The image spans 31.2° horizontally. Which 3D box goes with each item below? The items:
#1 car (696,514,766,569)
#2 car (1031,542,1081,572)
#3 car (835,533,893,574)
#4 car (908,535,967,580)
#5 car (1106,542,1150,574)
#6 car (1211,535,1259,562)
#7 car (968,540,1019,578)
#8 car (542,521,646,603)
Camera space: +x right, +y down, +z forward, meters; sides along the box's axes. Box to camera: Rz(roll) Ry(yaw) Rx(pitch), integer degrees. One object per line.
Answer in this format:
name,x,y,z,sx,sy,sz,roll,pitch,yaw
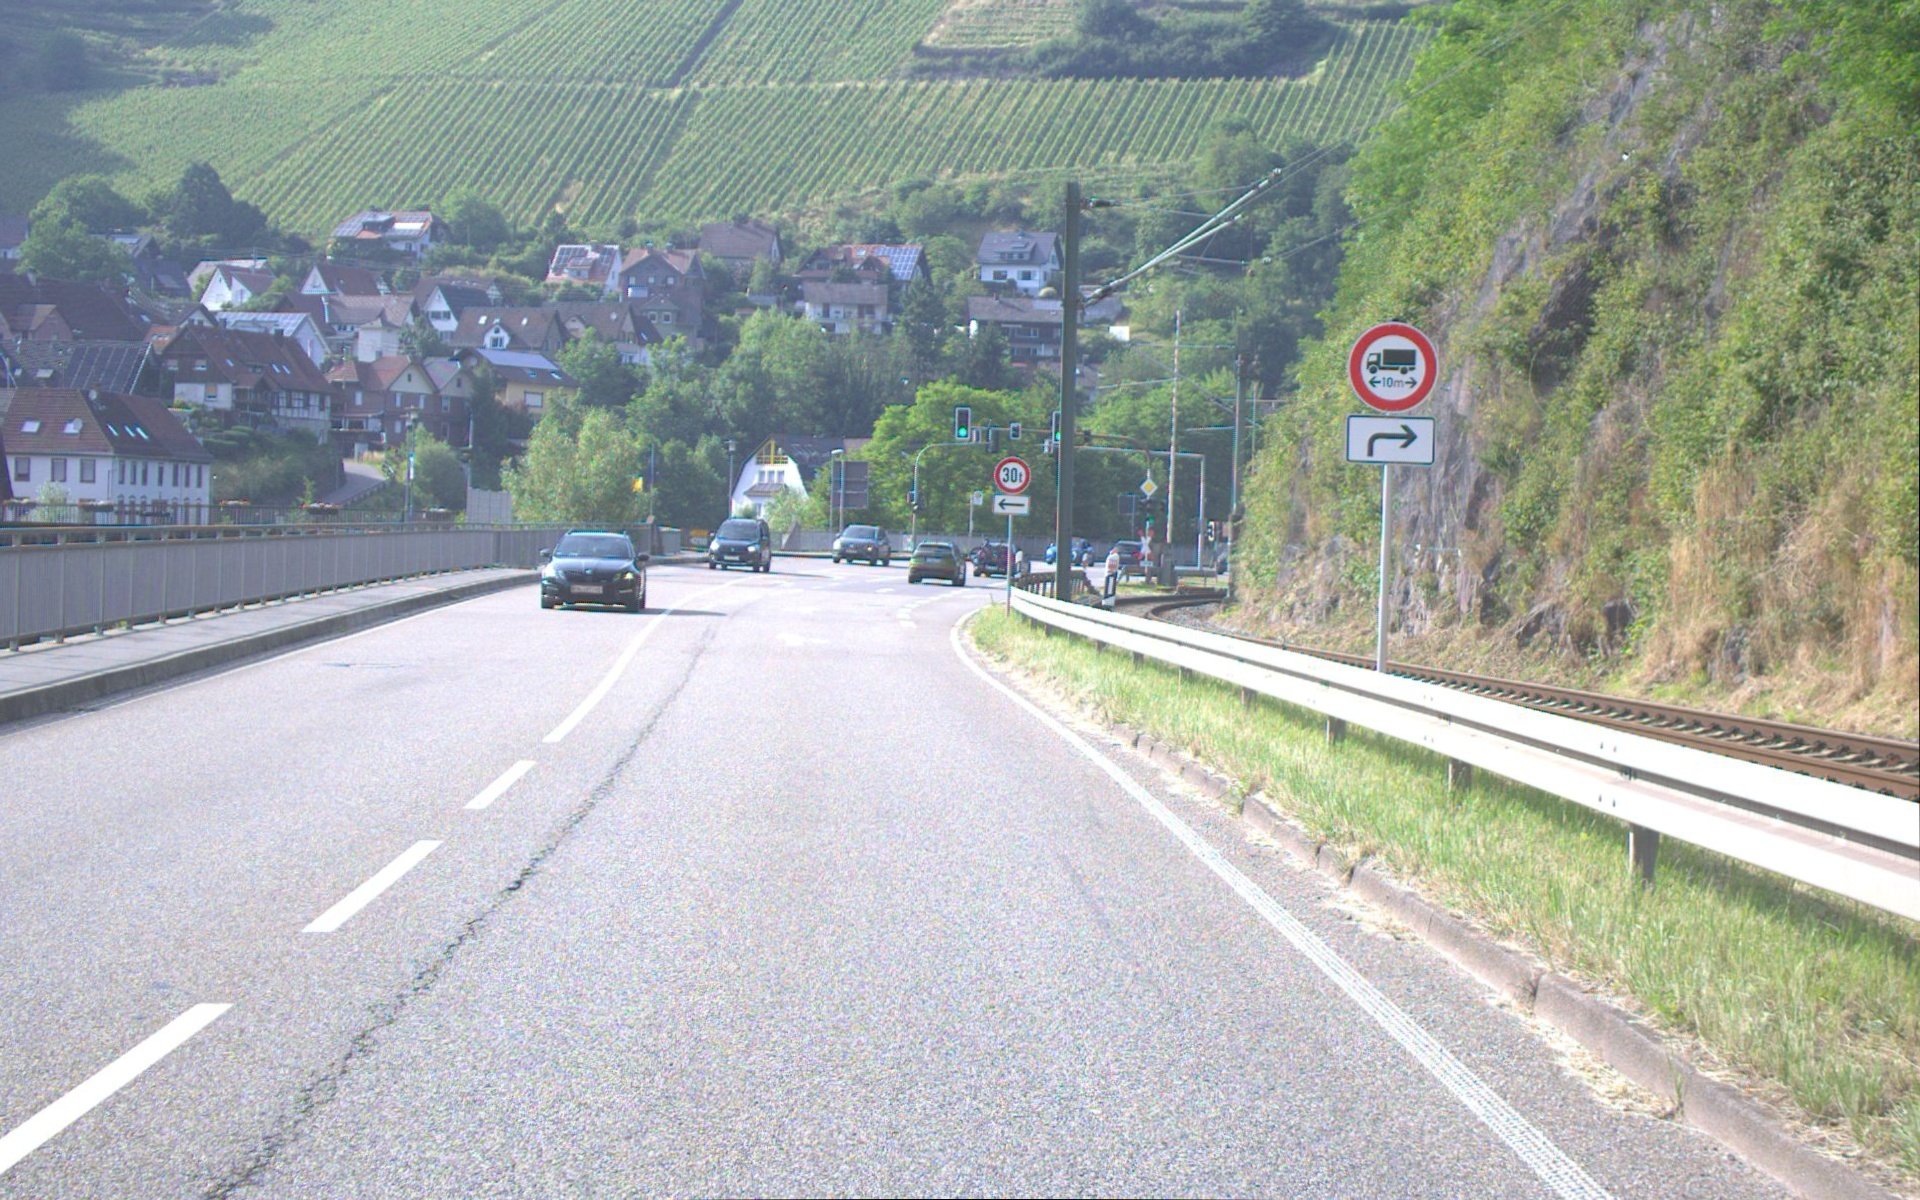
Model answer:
car,-7.896,-2.034,118.811,1.792,1.821,4.828,2,1,3
car,5.205,-2.318,185.593,1.783,1.477,4.523,3,1,13
car,-4.065,-1.998,146.194,1.817,1.641,4.611,3,1,6
car,-0.758,-1.445,118.172,1.729,1.452,3.410,1,0,5
car,8.193,-2.038,167.335,1.807,1.448,3.646,1,0,8
car,15.101,-2.821,188.877,1.810,1.403,3.770,1,0,17
car,1.368,-1.639,138.201,1.840,1.454,3.712,1,0,3
car,-6.740,-0.728,63.650,1.720,1.430,4.340,1,1,-4
